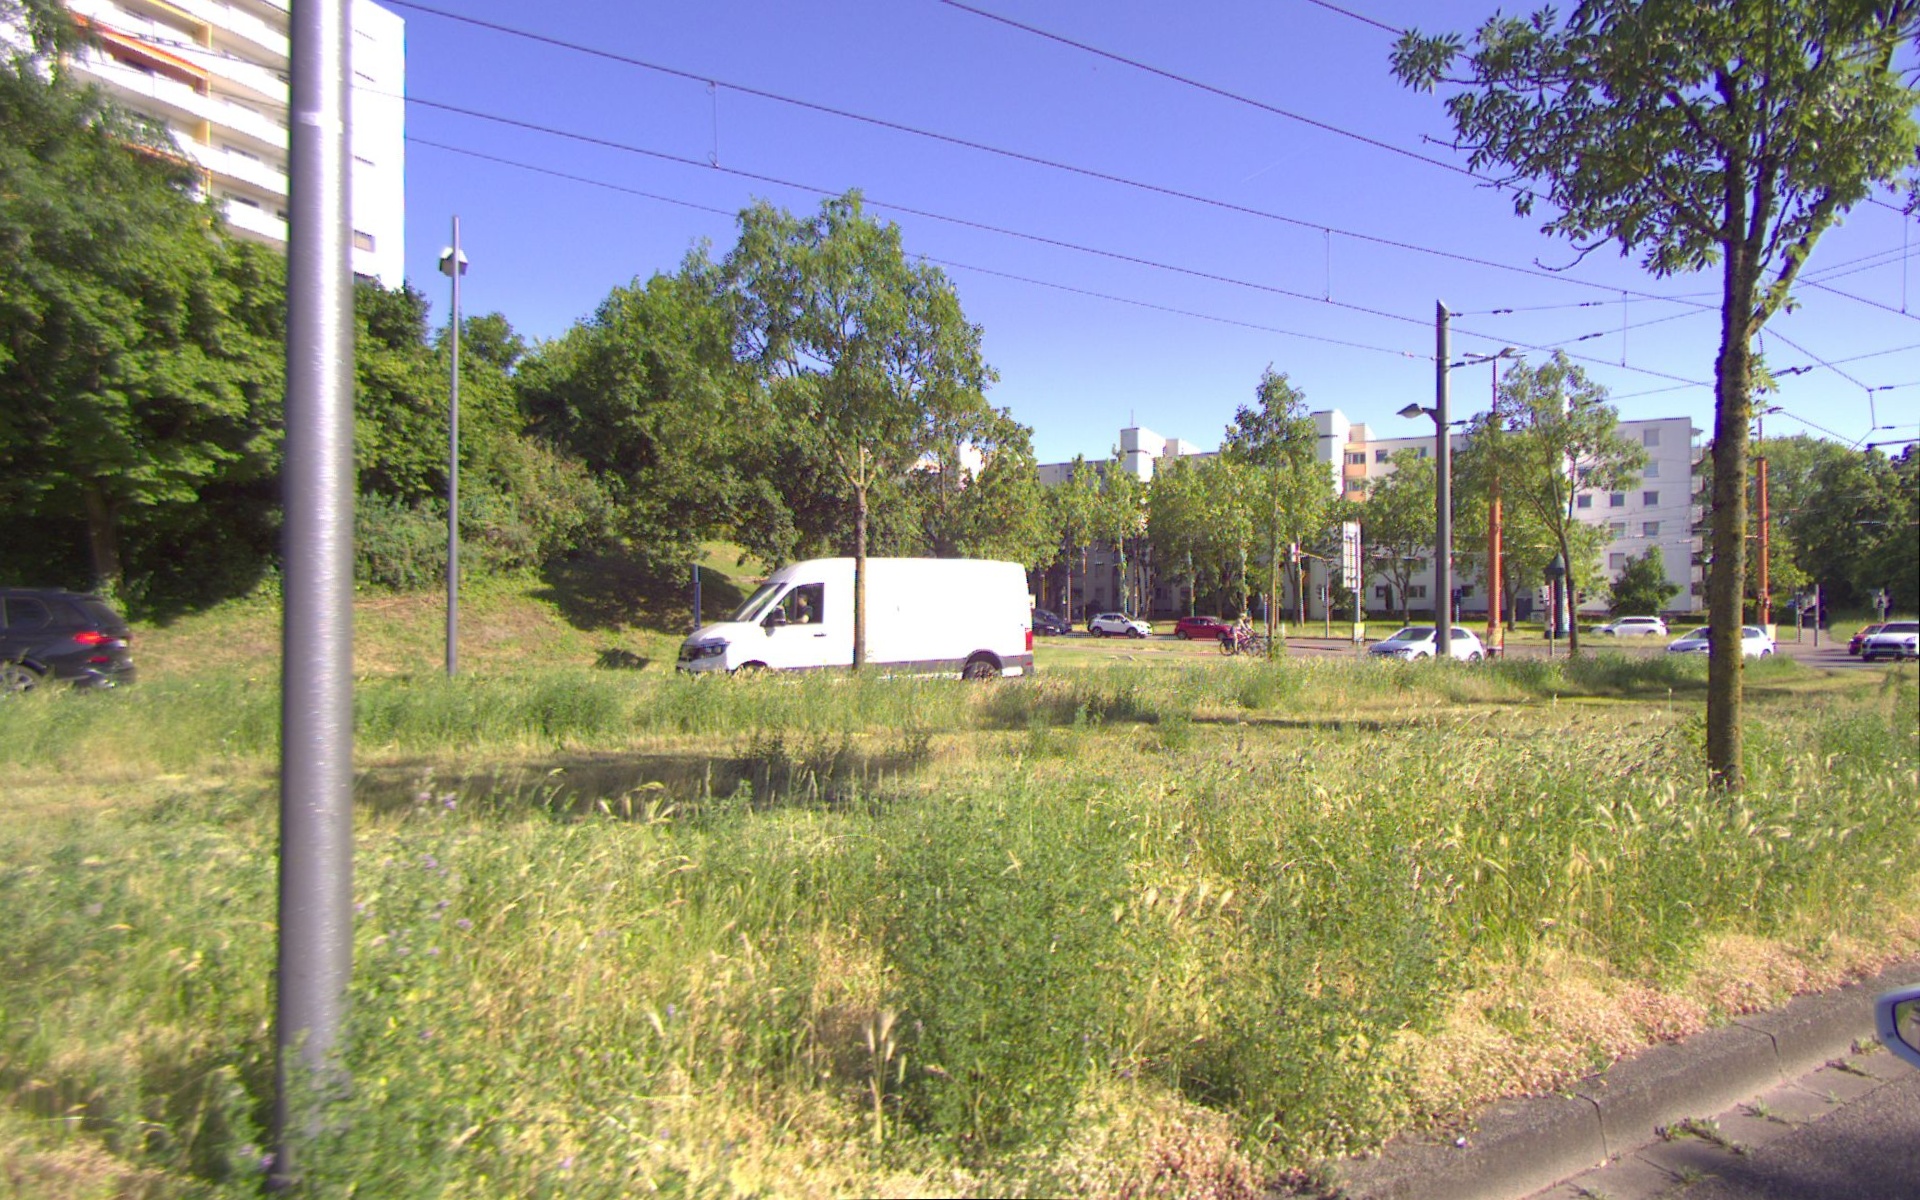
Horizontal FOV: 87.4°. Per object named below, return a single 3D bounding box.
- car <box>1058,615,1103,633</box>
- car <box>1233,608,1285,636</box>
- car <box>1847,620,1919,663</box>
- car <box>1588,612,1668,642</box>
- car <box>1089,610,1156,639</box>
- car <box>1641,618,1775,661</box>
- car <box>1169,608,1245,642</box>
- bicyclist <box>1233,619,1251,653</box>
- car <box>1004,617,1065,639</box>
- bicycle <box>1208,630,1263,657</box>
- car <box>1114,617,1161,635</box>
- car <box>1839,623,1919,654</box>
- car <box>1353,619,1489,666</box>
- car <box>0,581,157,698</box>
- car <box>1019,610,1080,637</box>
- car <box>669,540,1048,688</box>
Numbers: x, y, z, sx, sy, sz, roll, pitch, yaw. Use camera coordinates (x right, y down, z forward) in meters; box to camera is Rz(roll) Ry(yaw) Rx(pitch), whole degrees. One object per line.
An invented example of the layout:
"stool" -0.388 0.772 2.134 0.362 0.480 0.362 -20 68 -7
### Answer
"car" 11.704 2.342 97.870 3.933 1.617 1.890 1 0 -15
"car" 25.946 1.884 87.159 3.933 2.341 1.890 1 0 -15
"car" 38.477 1.665 40.895 4.594 1.643 1.888 1 0 -26
"car" 47.259 1.914 71.140 4.319 2.040 2.001 0 0 17
"car" 10.742 1.574 66.344 3.930 1.773 1.908 1 0 31
"car" 26.777 1.399 35.968 4.480 1.416 1.894 1 0 -24
"car" 15.388 1.527 62.610 4.200 1.926 1.996 1 0 31
"bicyclist" 12.418 1.589 44.269 0.742 1.449 0.752 1 0 16
"car" 5.220 1.950 70.655 3.930 1.340 1.732 1 0 31
"bicycle" 12.175 1.911 44.357 2.313 1.095 0.474 1 0 17
"car" 16.642 2.444 94.408 3.933 1.617 1.890 1 0 -15
"car" 42.829 1.780 46.717 4.126 1.315 1.650 1 0 -29
"car" 14.267 1.291 31.080 3.949 1.310 1.791 1 0 -28
"car" -14.740 0.507 14.011 5.208 1.605 1.985 1 0 -29
"car" 6.438 1.660 72.313 3.930 1.773 1.908 1 0 31
"car" -1.766 0.279 18.779 6.796 2.400 2.031 1 0 -29
